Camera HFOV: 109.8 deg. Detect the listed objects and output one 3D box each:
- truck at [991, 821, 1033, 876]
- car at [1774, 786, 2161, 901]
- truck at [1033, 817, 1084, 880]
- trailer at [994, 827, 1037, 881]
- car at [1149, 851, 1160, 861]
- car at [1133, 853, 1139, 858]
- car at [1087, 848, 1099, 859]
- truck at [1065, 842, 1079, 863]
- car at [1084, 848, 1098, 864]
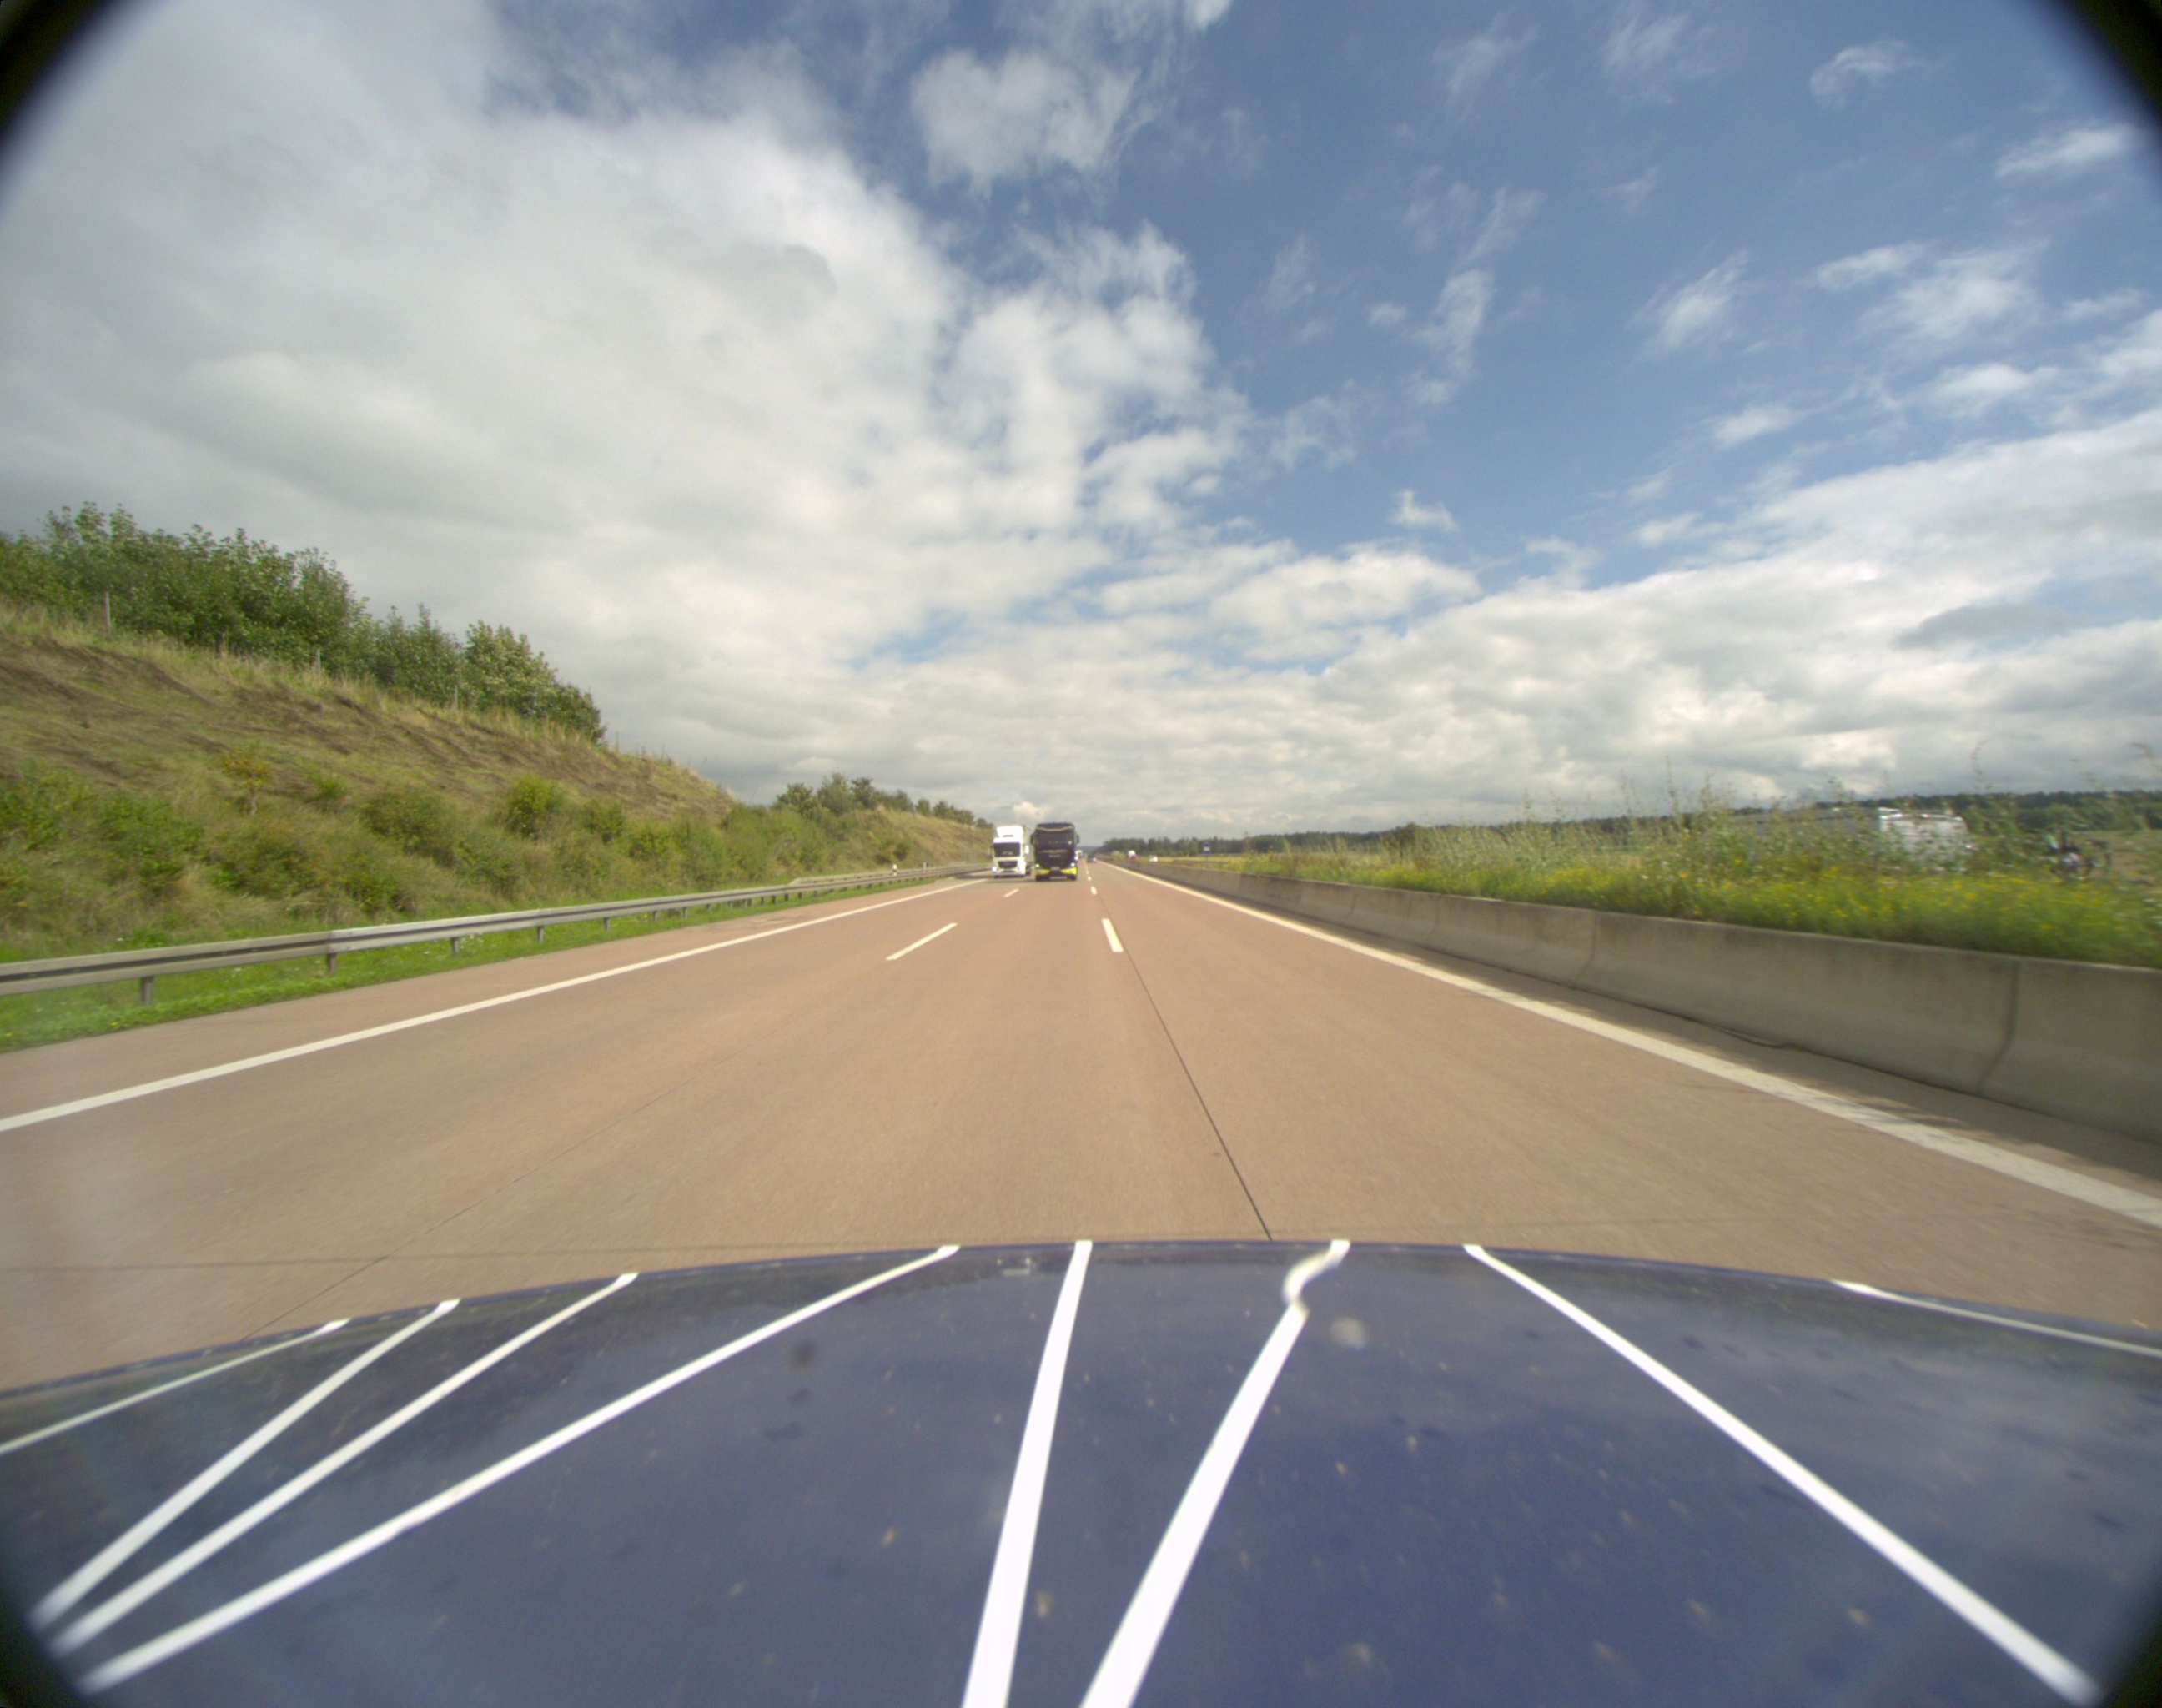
[{"bbox_3d":[-5.123,-0.396,57.348,2.756,3.869,4.544,-2,1,-1],"label":"truck"},{"bbox_3d":[17.693,-0.183,15.457,2.062,1.901,5.703,0,0,1],"label":"car"},{"bbox_3d":[-1.368,-0.363,48.138,2.855,3.529,8.317,-2,1,-1],"label":"truck"},{"bbox_3d":[-5.229,-0.077,62.065,2.755,3.989,8.668,-2,1,-1],"label":"trailer"},{"bbox_3d":[15.135,0.375,156.139,1.998,2.058,4.711,0,0,1],"label":"car"},{"bbox_3d":[15.367,0.380,211.494,1.402,1.384,3.234,-3,0,1],"label":"car"},{"bbox_3d":[2.346,-0.043,148.127,2.149,2.002,4.248,-3,0,0],"label":"car"},{"bbox_3d":[-2.014,-0.299,169.632,2.681,4.333,11.808,-3,0,0],"label":"truck"},{"bbox_3d":[2.159,0.367,159.459,2.773,3.260,6.393,-3,0,1],"label":"car"}]
